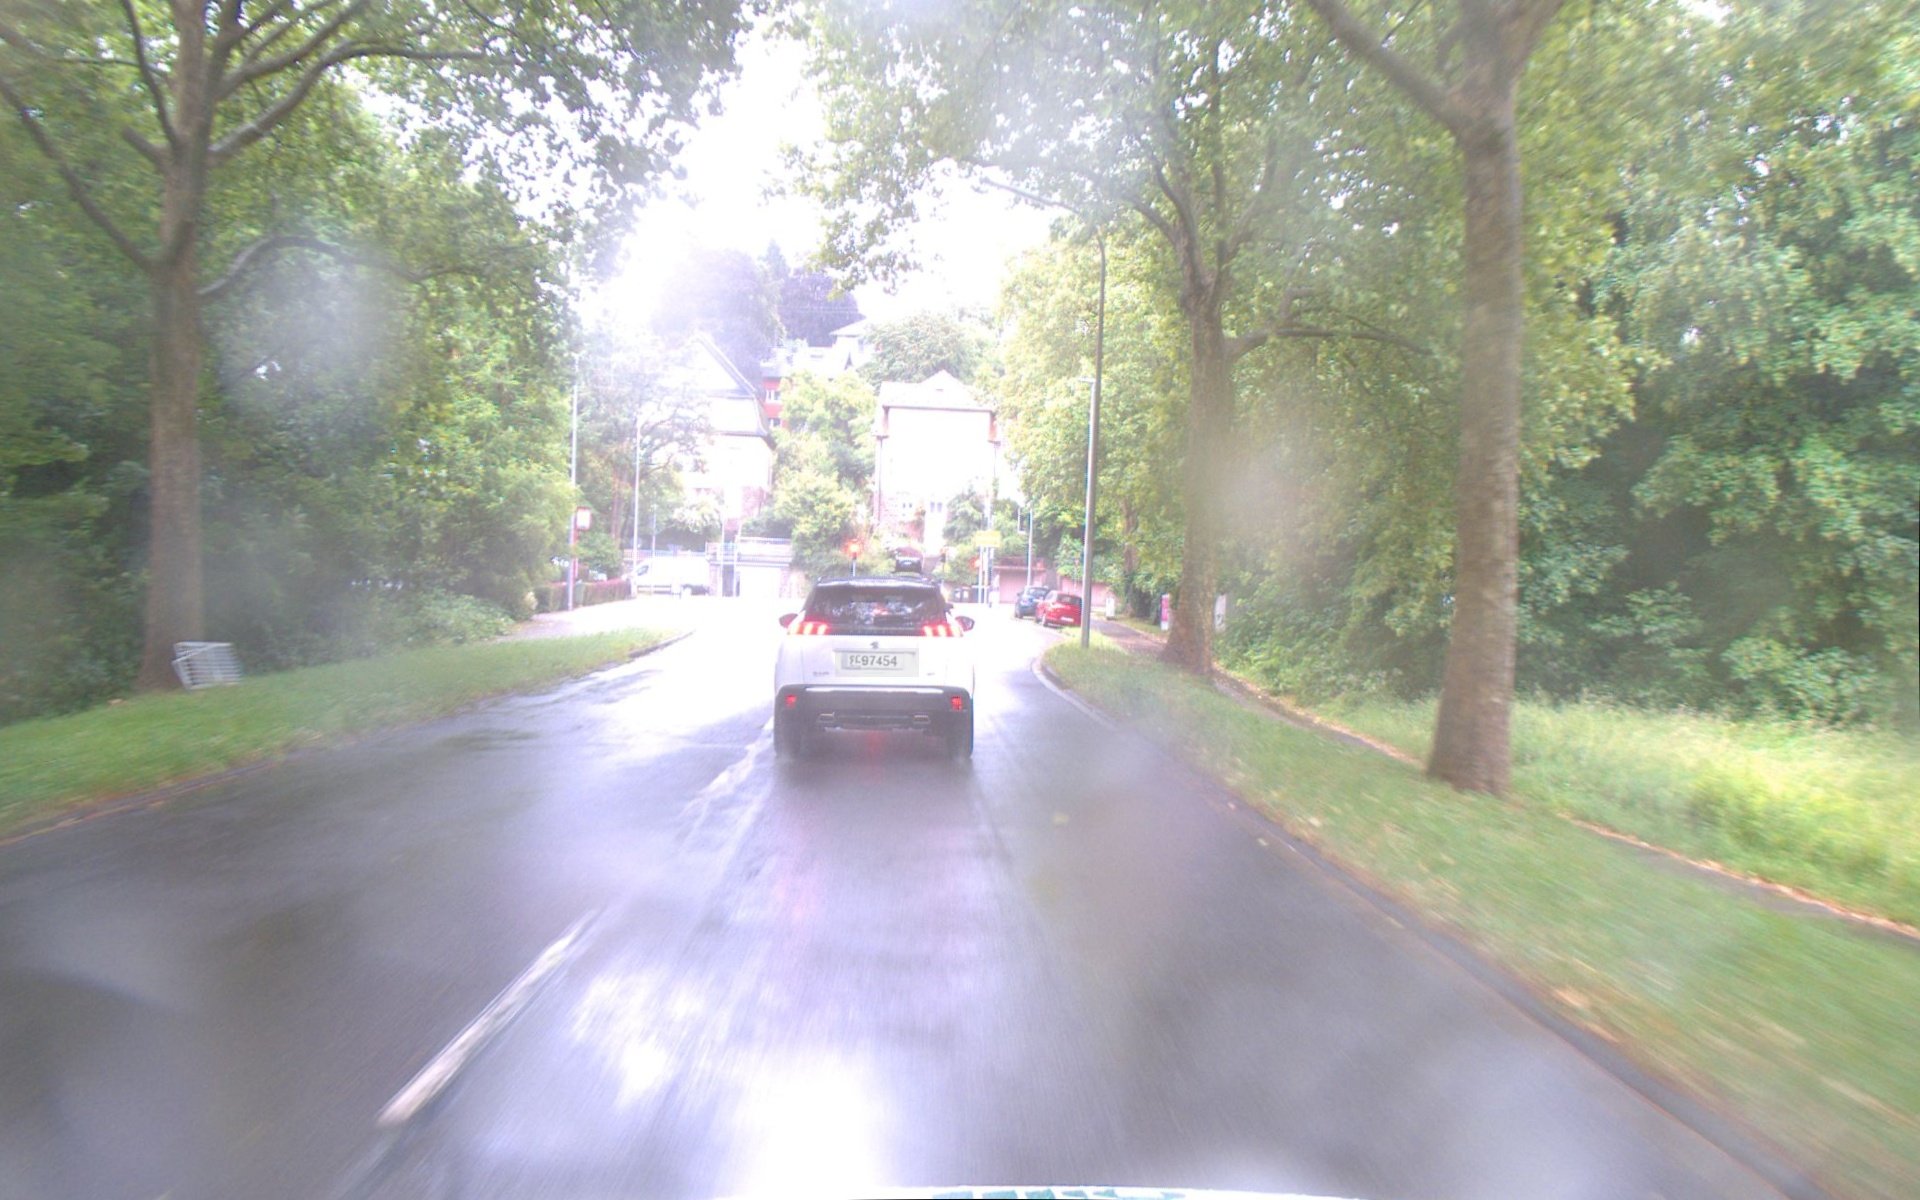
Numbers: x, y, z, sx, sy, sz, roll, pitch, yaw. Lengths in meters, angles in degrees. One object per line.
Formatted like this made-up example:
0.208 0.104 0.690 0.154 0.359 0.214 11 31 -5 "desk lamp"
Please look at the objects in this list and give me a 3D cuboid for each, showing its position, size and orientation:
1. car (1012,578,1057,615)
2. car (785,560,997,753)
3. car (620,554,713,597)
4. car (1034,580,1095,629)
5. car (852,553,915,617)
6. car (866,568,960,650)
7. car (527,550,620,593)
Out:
3.416 -0.182 76.296 1.715 1.517 3.598 4 0 -2 "car"
-0.642 0.436 15.760 1.717 1.562 4.366 1 1 -2 "car"
-19.130 -1.591 108.116 5.546 2.537 2.315 3 -1 -1 "car"
4.187 0.163 66.752 1.785 1.542 3.741 9 2 -5 "car"
-2.337 -0.496 49.705 1.726 1.740 4.598 3 1 -4 "car"
-1.016 0.134 35.944 1.795 1.481 4.658 4 2 -2 "car"
-25.224 -1.853 108.126 5.450 2.537 2.315 3 -1 -1 "car"
